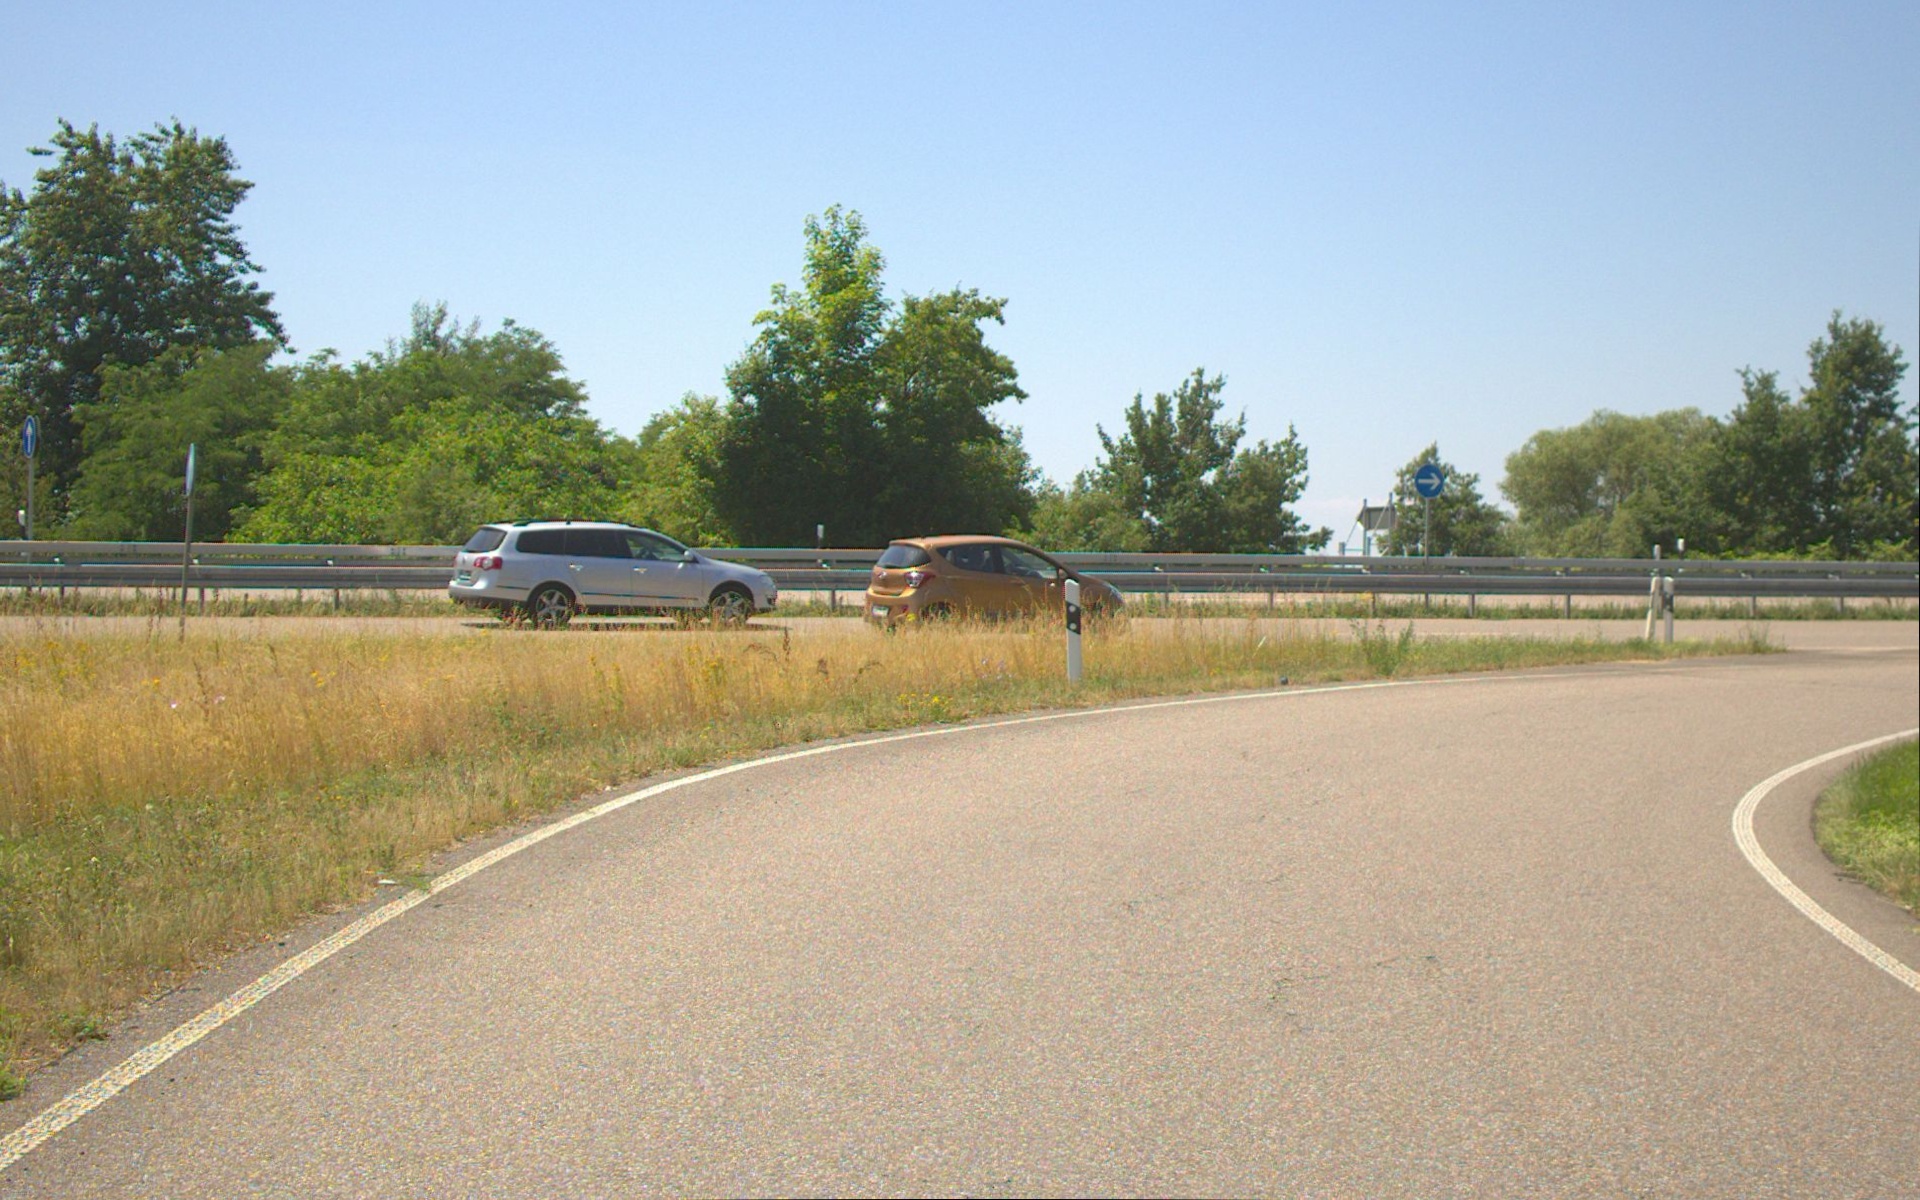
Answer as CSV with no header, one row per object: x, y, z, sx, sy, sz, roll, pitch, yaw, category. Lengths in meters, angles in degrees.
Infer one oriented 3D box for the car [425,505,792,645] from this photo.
-5.033,-0.351,49.268,4.769,1.783,2.000,2,0,-26,car

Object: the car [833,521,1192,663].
0.739,-0.111,47.873,4.513,1.783,2.000,2,0,-26,car
